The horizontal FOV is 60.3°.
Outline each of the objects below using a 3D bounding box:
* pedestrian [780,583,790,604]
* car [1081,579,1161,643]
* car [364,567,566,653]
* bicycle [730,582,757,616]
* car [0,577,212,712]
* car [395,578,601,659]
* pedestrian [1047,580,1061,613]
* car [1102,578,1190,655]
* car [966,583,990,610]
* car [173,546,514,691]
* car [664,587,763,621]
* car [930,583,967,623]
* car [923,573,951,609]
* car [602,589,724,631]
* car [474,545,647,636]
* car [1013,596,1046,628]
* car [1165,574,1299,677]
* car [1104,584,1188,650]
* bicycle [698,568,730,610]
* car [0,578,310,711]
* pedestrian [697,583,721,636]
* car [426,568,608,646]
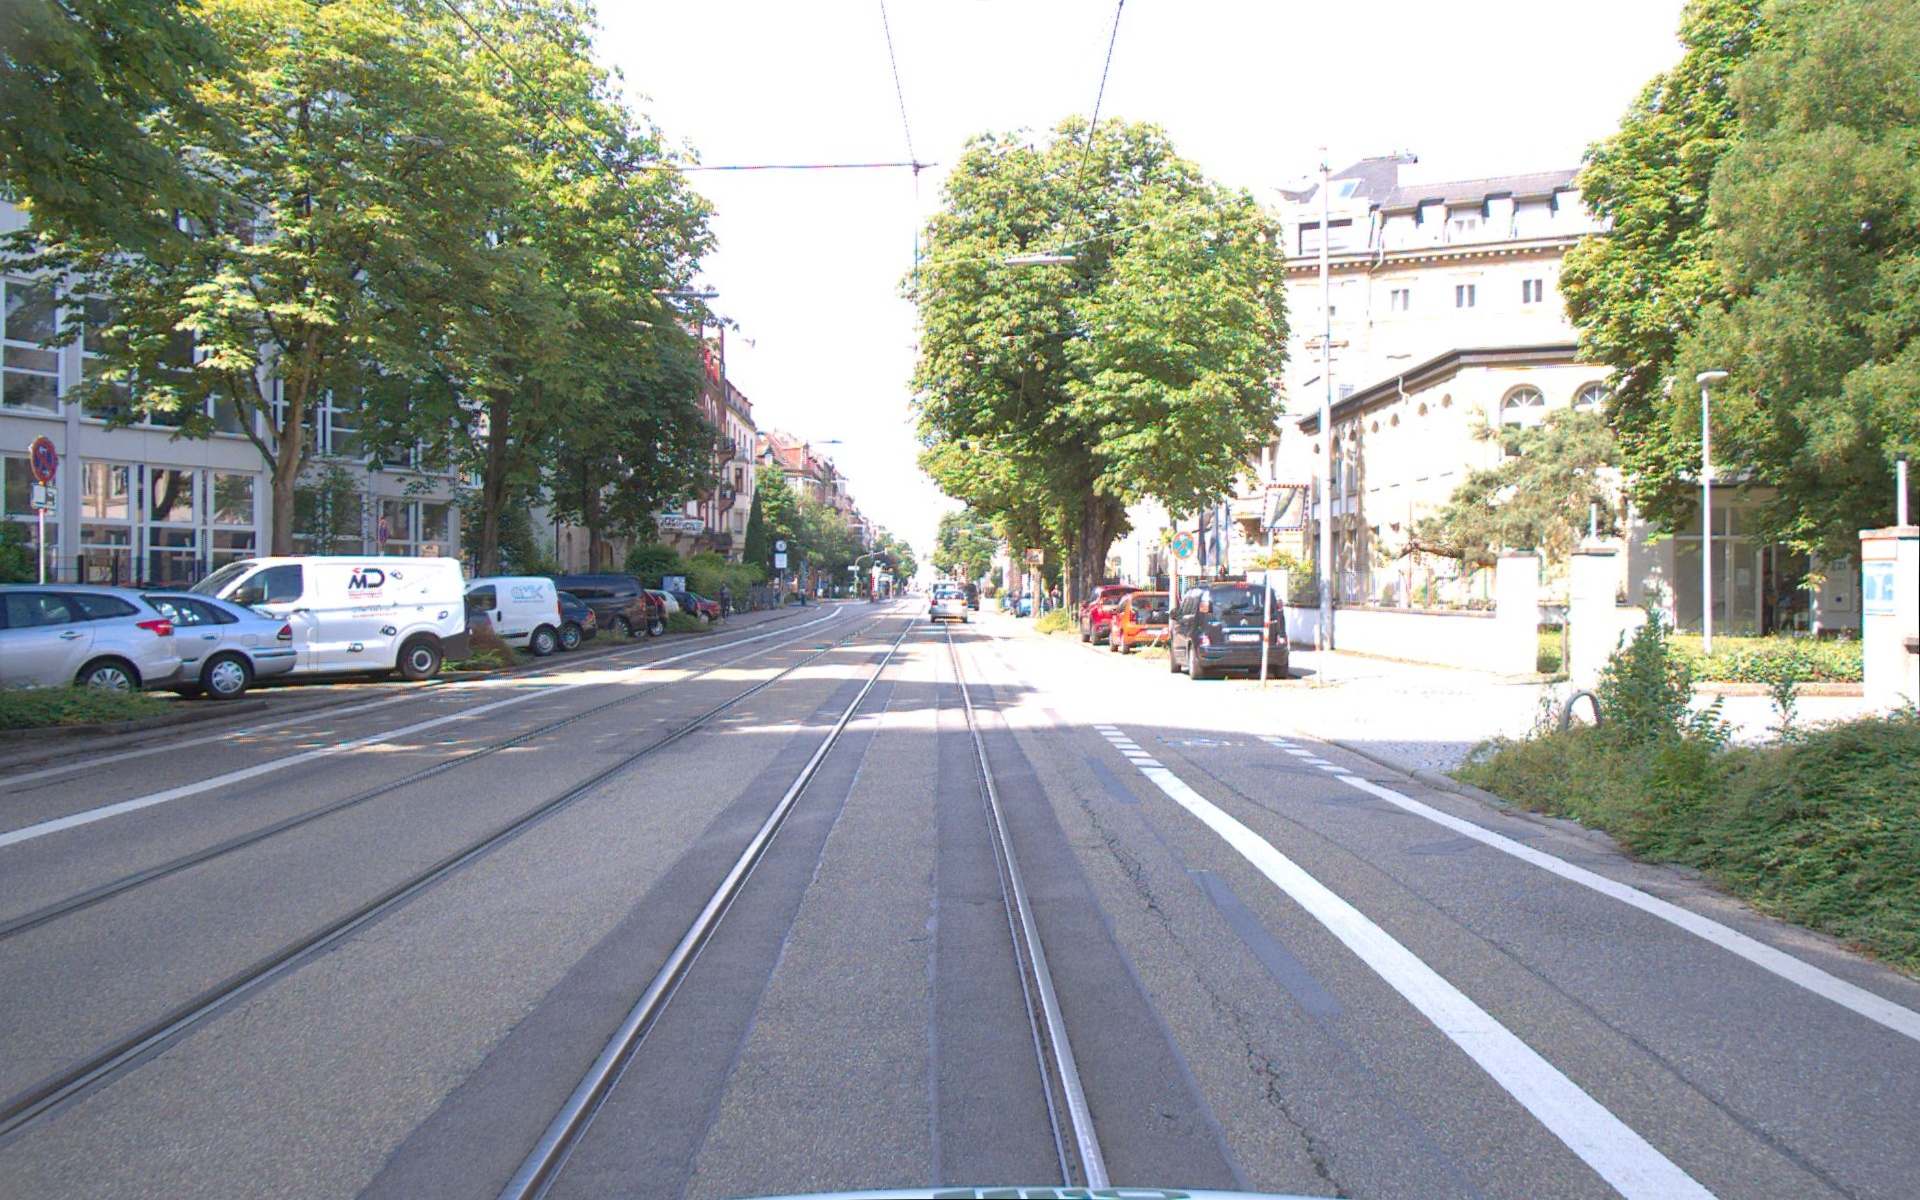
[{"bbox_3d":[-17.146,-0.676,162.049,0.868,2.049,0.786,1,0,-10],"label":"pedestrian"},{"bbox_3d":[4.595,0.306,47.701,1.920,1.736,4.000,1,0,1],"label":"car"},{"bbox_3d":[-10.575,0.216,35.459,1.851,1.742,3.734,1,0,43],"label":"car"},{"bbox_3d":[-11.394,-0.043,86.989,0.919,1.777,2.285,1,0,5],"label":"bicycle"},{"bbox_3d":[-10.919,0.482,18.411,1.709,1.451,4.435,0,-1,42],"label":"car"},{"bbox_3d":[-9.142,0.375,32.940,1.730,1.527,3.616,0,-1,41],"label":"car"},{"bbox_3d":[5.803,-0.206,102.081,0.745,2.049,0.764,1,0,1],"label":"pedestrian"},{"bbox_3d":[4.506,0.363,40.548,1.640,1.639,3.585,-2,3,-1],"label":"car"},{"bbox_3d":[1.270,-0.225,116.722,1.588,1.881,3.564,1,0,-1],"label":"car"},{"bbox_3d":[-9.600,0.219,26.001,4.605,1.945,1.902,-4,2,-43],"label":"car"},{"bbox_3d":[-10.143,0.177,68.111,3.750,1.329,1.615,1,0,-40],"label":"car"},{"bbox_3d":[-0.526,0.133,73.779,1.588,1.713,3.564,1,0,-1],"label":"car"},{"bbox_3d":[-1.338,-0.488,96.609,1.588,2.035,3.564,1,0,-1],"label":"car"},{"bbox_3d":[-9.936,0.347,55.495,3.750,1.329,1.615,1,0,-40],"label":"car"},{"bbox_3d":[-10.850,-0.238,45.118,1.851,2.117,4.176,4,-1,43],"label":"car"},{"bbox_3d":[3.753,0.639,90.040,1.588,1.713,3.564,1,0,-1],"label":"car"},{"bbox_3d":[4.700,0.389,29.006,1.640,1.639,3.584,-2,1,-1],"label":"car"},{"bbox_3d":[4.526,0.400,40.575,1.633,1.512,3.279,-1,0,-1],"label":"car"},{"bbox_3d":[-11.487,-0.502,77.374,0.919,1.952,2.500,1,0,5],"label":"bicycle"},{"bbox_3d":[-10.758,0.524,21.724,3.756,1.501,1.698,-3,1,-44],"label":"car"},{"bbox_3d":[-9.911,0.358,65.300,0.718,2.049,0.824,-3,-1,3],"label":"pedestrian"},{"bbox_3d":[-10.377,0.161,38.930,1.851,1.742,3.734,1,0,43],"label":"car"}]
